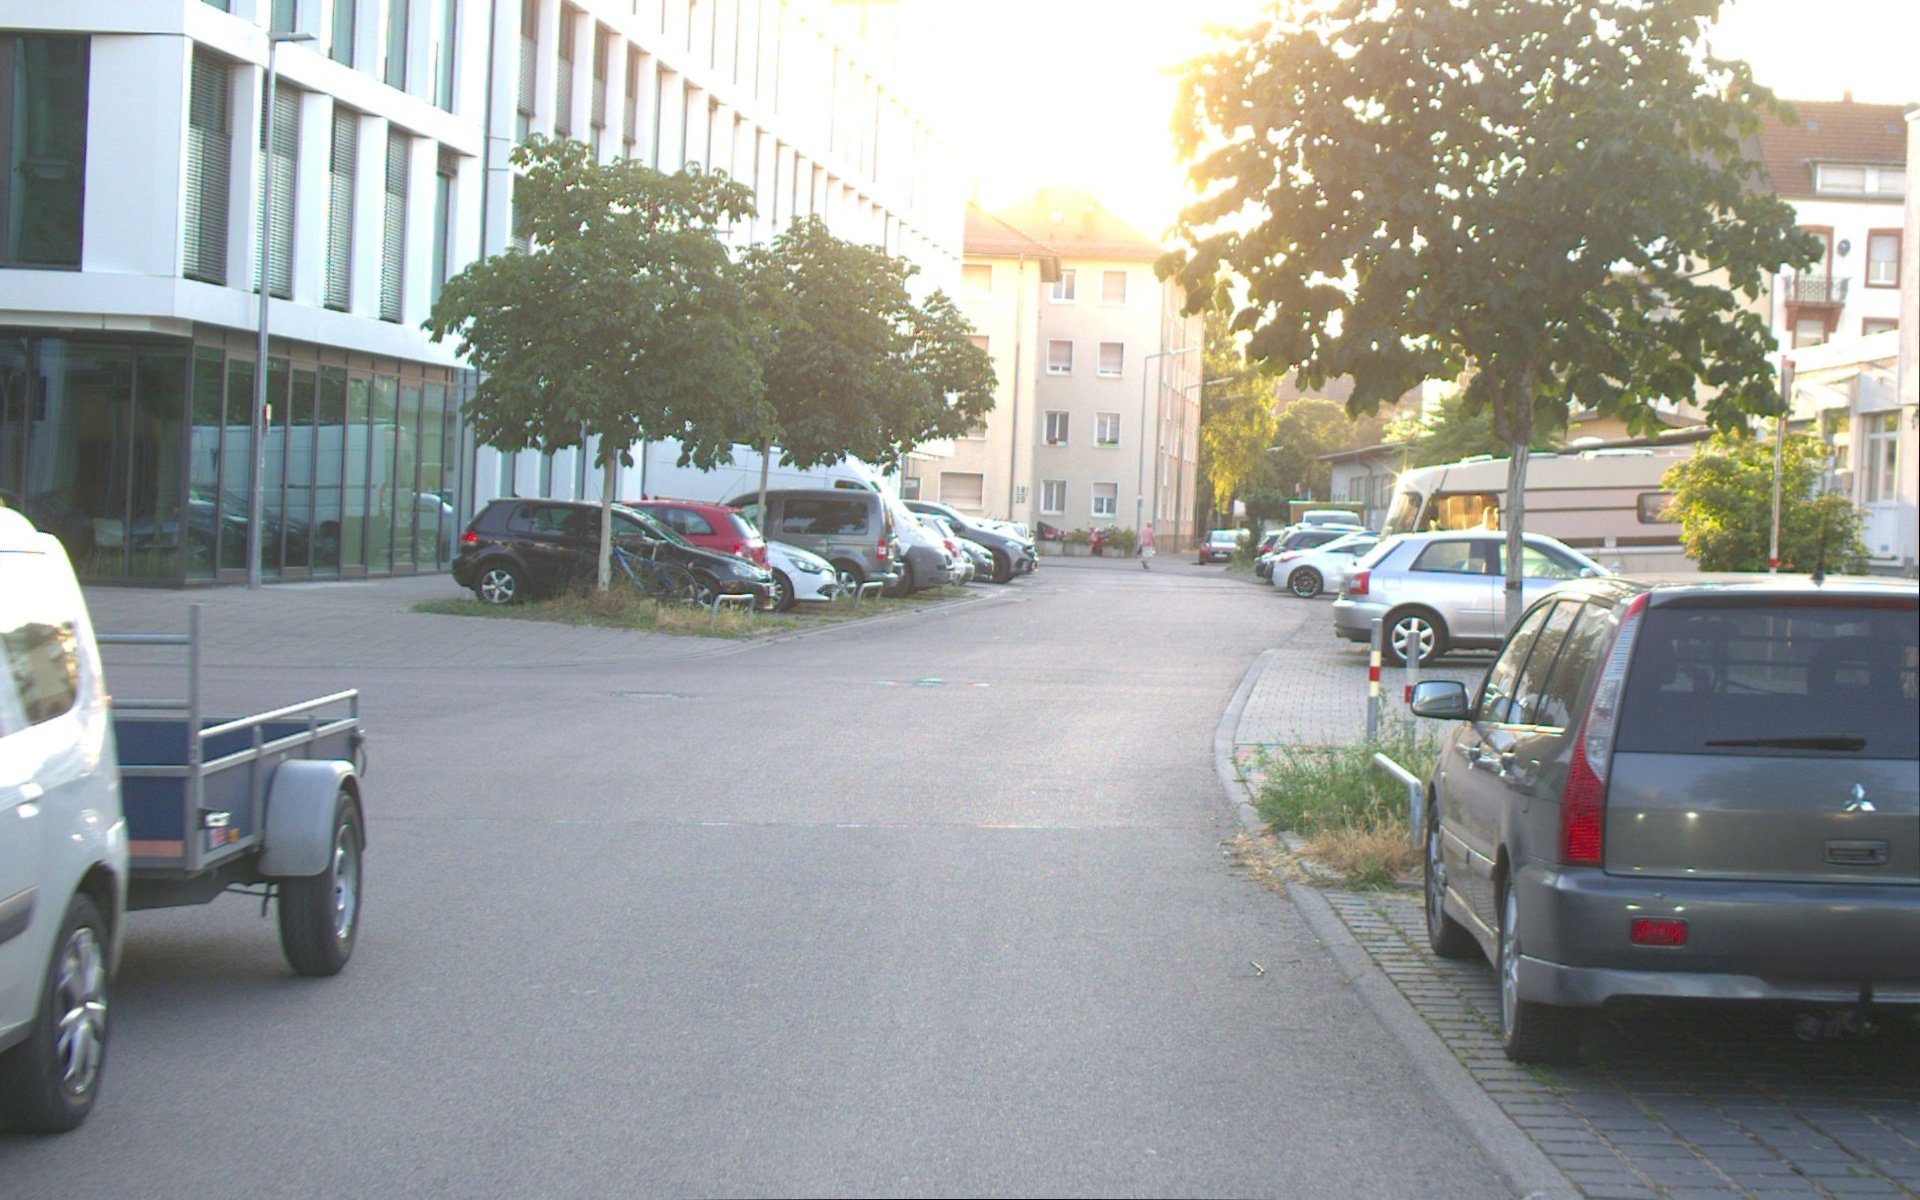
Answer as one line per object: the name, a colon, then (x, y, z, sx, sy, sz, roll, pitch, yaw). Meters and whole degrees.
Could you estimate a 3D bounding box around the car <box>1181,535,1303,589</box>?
car: (9.024, -1.213, 110.149, 3.786, 1.638, 1.696, 1, 2, 2)

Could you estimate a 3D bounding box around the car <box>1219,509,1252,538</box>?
car: (15.027, -4.166, 187.737, 1.742, 1.520, 3.551, 2, 1, 4)

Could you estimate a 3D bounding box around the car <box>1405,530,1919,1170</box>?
car: (2.453, 0.591, 10.891, 1.724, 1.574, 4.598, 2, 1, 4)

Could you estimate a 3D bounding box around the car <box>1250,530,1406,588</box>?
car: (9.960, -1.121, 93.160, 4.050, 1.474, 1.768, 1, 2, 2)

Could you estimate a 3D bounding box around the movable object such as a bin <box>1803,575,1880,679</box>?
movable object such as a bin: (8.992, 0.271, 35.090, 0.578, 1.007, 0.689, 2, 2, 1)

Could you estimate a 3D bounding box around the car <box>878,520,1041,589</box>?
car: (-0.002, -1.053, 78.186, 3.560, 1.474, 1.457, 1, 2, 7)

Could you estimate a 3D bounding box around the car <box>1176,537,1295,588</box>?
car: (9.338, -1.287, 116.641, 3.905, 1.638, 1.710, 1, 2, 2)

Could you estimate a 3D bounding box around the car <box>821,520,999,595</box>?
car: (-1.041, -0.910, 72.432, 3.560, 1.474, 1.457, 1, 2, 7)

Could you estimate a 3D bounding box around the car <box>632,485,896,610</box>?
car: (-3.109, -0.854, 55.094, 4.050, 1.901, 1.736, 1, 2, 3)

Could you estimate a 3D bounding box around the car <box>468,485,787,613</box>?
car: (-4.592, -0.715, 47.737, 4.051, 1.474, 1.767, 4, 1, 7)

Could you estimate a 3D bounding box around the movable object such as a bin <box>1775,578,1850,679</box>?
movable object such as a bin: (8.876, 0.294, 35.817, 0.578, 1.007, 0.689, 2, 2, 1)

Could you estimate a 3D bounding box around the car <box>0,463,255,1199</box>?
car: (-3.028, 0.532, 7.359, 1.952, 1.680, 4.722, 1, 0, 1)

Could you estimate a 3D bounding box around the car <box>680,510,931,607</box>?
car: (-2.557, -0.702, 57.595, 4.050, 1.519, 1.736, 1, 2, 3)

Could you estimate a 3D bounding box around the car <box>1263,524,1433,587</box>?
car: (9.685, -1.119, 85.990, 4.050, 1.474, 1.768, 1, 2, 2)

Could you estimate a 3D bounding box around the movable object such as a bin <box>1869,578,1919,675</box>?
movable object such as a bin: (9.751, 0.268, 35.390, 0.578, 0.955, 0.689, 2, 2, 1)

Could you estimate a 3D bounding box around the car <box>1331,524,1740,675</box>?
car: (6.074, -0.025, 36.625, 4.050, 1.474, 1.768, 1, 2, 2)

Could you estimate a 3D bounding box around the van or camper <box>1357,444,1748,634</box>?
van or camper: (9.021, -0.970, 52.808, 5.610, 2.780, 2.430, 1, 2, 2)

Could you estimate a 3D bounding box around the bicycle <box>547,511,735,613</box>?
bicycle: (-3.962, -0.482, 42.771, 2.179, 1.170, 0.811, 2, 1, 6)

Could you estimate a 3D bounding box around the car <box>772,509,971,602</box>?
car: (-1.650, -0.849, 64.759, 3.560, 1.646, 1.457, 1, 2, 7)

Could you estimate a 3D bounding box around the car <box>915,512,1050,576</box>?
car: (0.541, -1.321, 80.611, 3.016, 1.416, 1.457, 1, 2, 7)

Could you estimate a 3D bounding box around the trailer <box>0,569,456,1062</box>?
trailer: (-2.874, 0.620, 11.859, 1.705, 1.344, 3.487, 2, 1, 0)

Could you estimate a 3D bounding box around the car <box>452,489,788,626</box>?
car: (-4.402, -0.572, 44.831, 4.050, 1.474, 1.768, 4, 3, 4)

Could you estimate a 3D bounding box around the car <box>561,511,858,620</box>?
car: (-3.632, -0.522, 50.170, 4.051, 1.474, 1.767, 1, 2, 7)

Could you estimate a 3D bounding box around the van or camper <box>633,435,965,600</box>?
van or camper: (-2.788, -1.457, 60.056, 5.454, 2.475, 1.775, 4, 2, 7)

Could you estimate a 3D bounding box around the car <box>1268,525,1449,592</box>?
car: (9.338, -0.982, 80.802, 4.050, 1.474, 1.768, 1, 2, 2)

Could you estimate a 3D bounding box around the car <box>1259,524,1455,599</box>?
car: (8.427, -0.826, 73.043, 4.051, 1.474, 1.767, 1, 2, 6)

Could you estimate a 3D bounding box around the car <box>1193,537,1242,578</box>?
car: (10.819, -1.794, 144.242, 1.950, 1.579, 3.640, 2, 1, 4)

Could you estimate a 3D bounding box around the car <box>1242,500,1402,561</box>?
car: (10.178, -1.963, 96.882, 4.342, 1.638, 1.816, 1, 2, 2)

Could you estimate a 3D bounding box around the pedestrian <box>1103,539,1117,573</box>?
pedestrian: (6.188, -1.822, 141.903, 0.501, 1.374, 0.454, 2, 1, 4)
